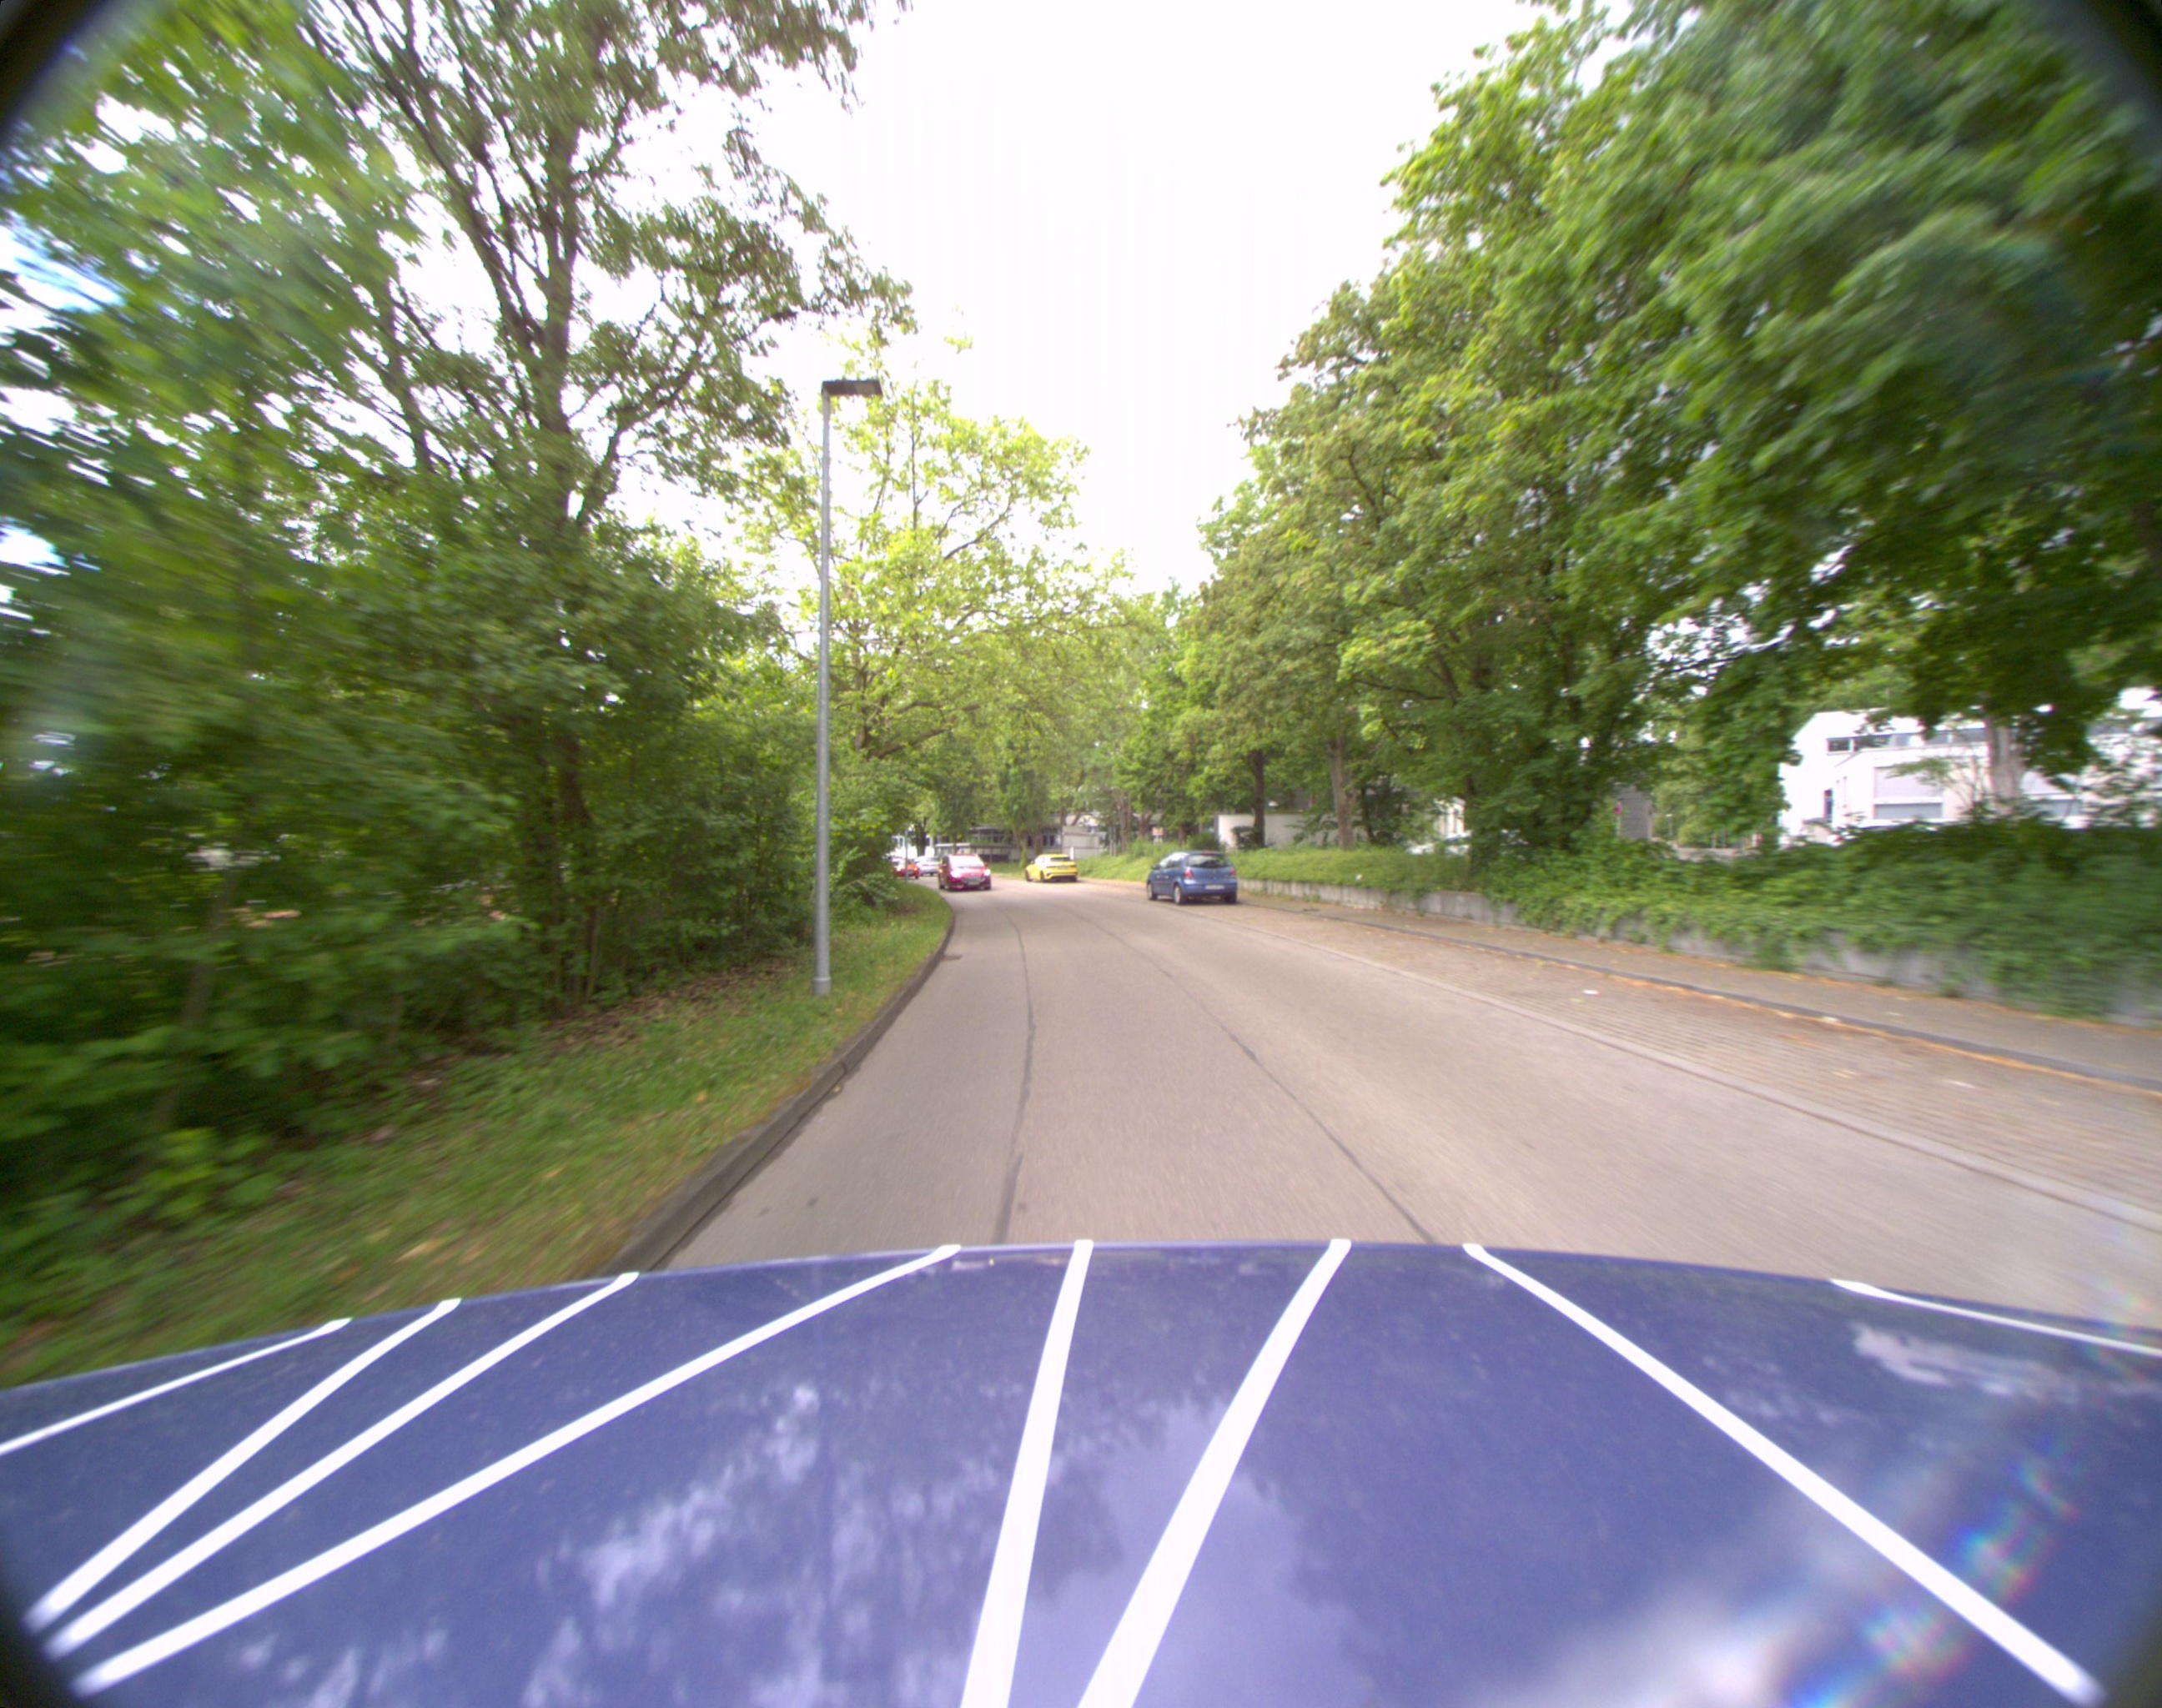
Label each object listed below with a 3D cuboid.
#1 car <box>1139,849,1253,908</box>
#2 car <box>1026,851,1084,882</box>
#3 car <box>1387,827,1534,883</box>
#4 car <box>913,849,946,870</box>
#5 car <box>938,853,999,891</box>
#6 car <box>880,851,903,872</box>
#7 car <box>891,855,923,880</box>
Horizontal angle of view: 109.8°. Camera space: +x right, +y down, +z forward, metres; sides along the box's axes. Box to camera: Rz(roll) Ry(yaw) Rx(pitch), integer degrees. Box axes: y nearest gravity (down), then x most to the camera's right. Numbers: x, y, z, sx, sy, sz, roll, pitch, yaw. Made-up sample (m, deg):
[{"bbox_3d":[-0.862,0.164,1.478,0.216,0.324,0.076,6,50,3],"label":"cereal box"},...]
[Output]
[{"bbox_3d":[3.158,0.617,21.720,1.854,1.483,3.995,-1,0,-13],"label":"car"},{"bbox_3d":[-1.377,0.604,38.881,1.855,1.483,3.993,-1,0,-19],"label":"car"},{"bbox_3d":[12.131,0.021,24.400,3.801,1.629,2.004,-1,2,43],"label":"car"},{"bbox_3d":[-11.270,0.378,56.338,1.855,1.483,4.079,-1,0,-20],"label":"car"},{"bbox_3d":[-5.211,0.767,34.805,1.948,1.550,4.348,-2,1,-19],"label":"car"},{"bbox_3d":[-18.400,0.658,73.583,2.001,1.865,3.994,-3,1,-15],"label":"car"},{"bbox_3d":[-11.873,0.879,51.607,1.950,1.522,4.081,-2,1,-15],"label":"car"}]
